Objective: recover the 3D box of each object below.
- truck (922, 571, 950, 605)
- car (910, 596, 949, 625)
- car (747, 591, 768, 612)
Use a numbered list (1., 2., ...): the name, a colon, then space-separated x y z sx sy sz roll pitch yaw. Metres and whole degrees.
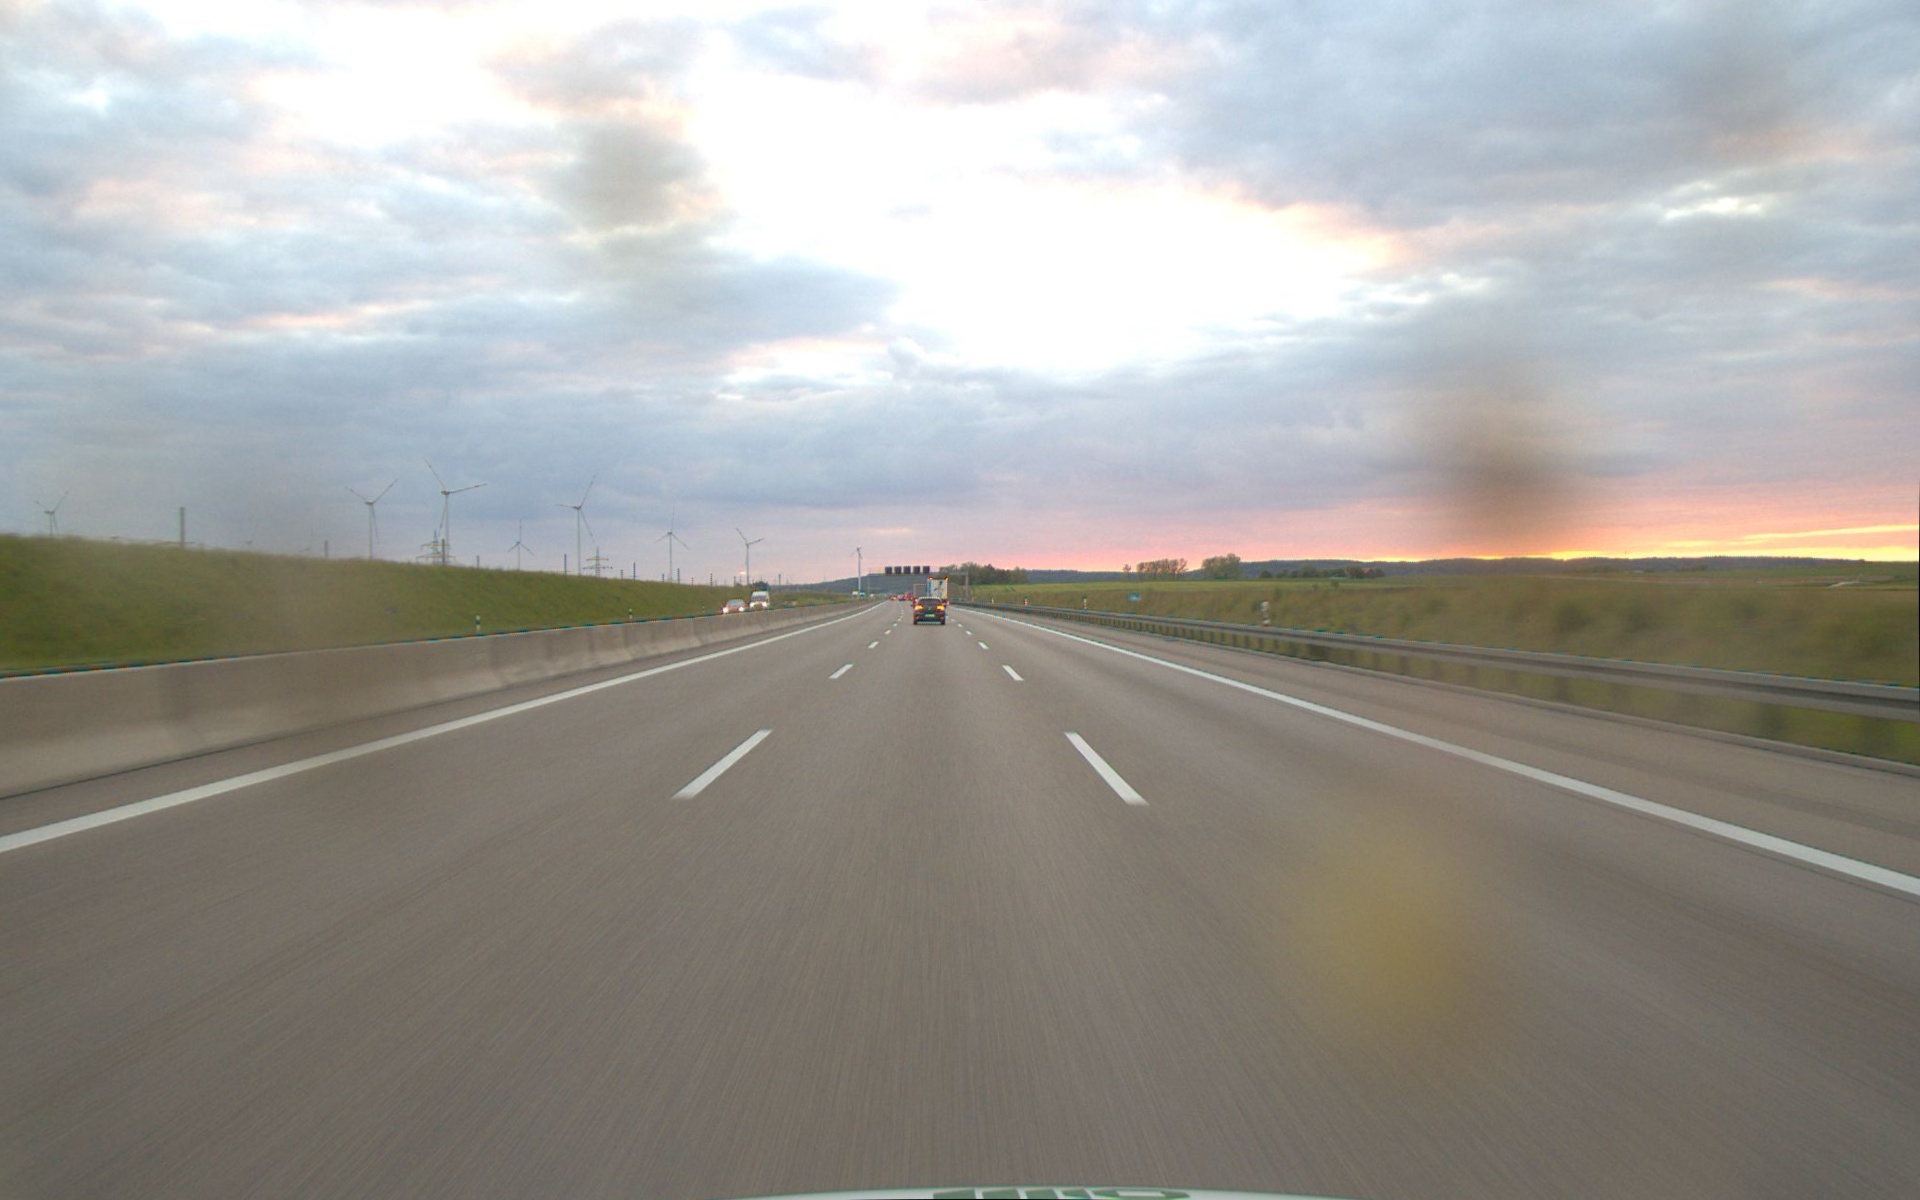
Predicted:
1. truck: -3.406 -1.633 234.292 3.601 4.644 10.976 -1 0 -2
2. car: -1.623 0.554 88.959 1.947 1.454 4.000 -1 1 0
3. car: -25.332 0.173 207.357 1.953 2.591 7.374 -1 0 -2
